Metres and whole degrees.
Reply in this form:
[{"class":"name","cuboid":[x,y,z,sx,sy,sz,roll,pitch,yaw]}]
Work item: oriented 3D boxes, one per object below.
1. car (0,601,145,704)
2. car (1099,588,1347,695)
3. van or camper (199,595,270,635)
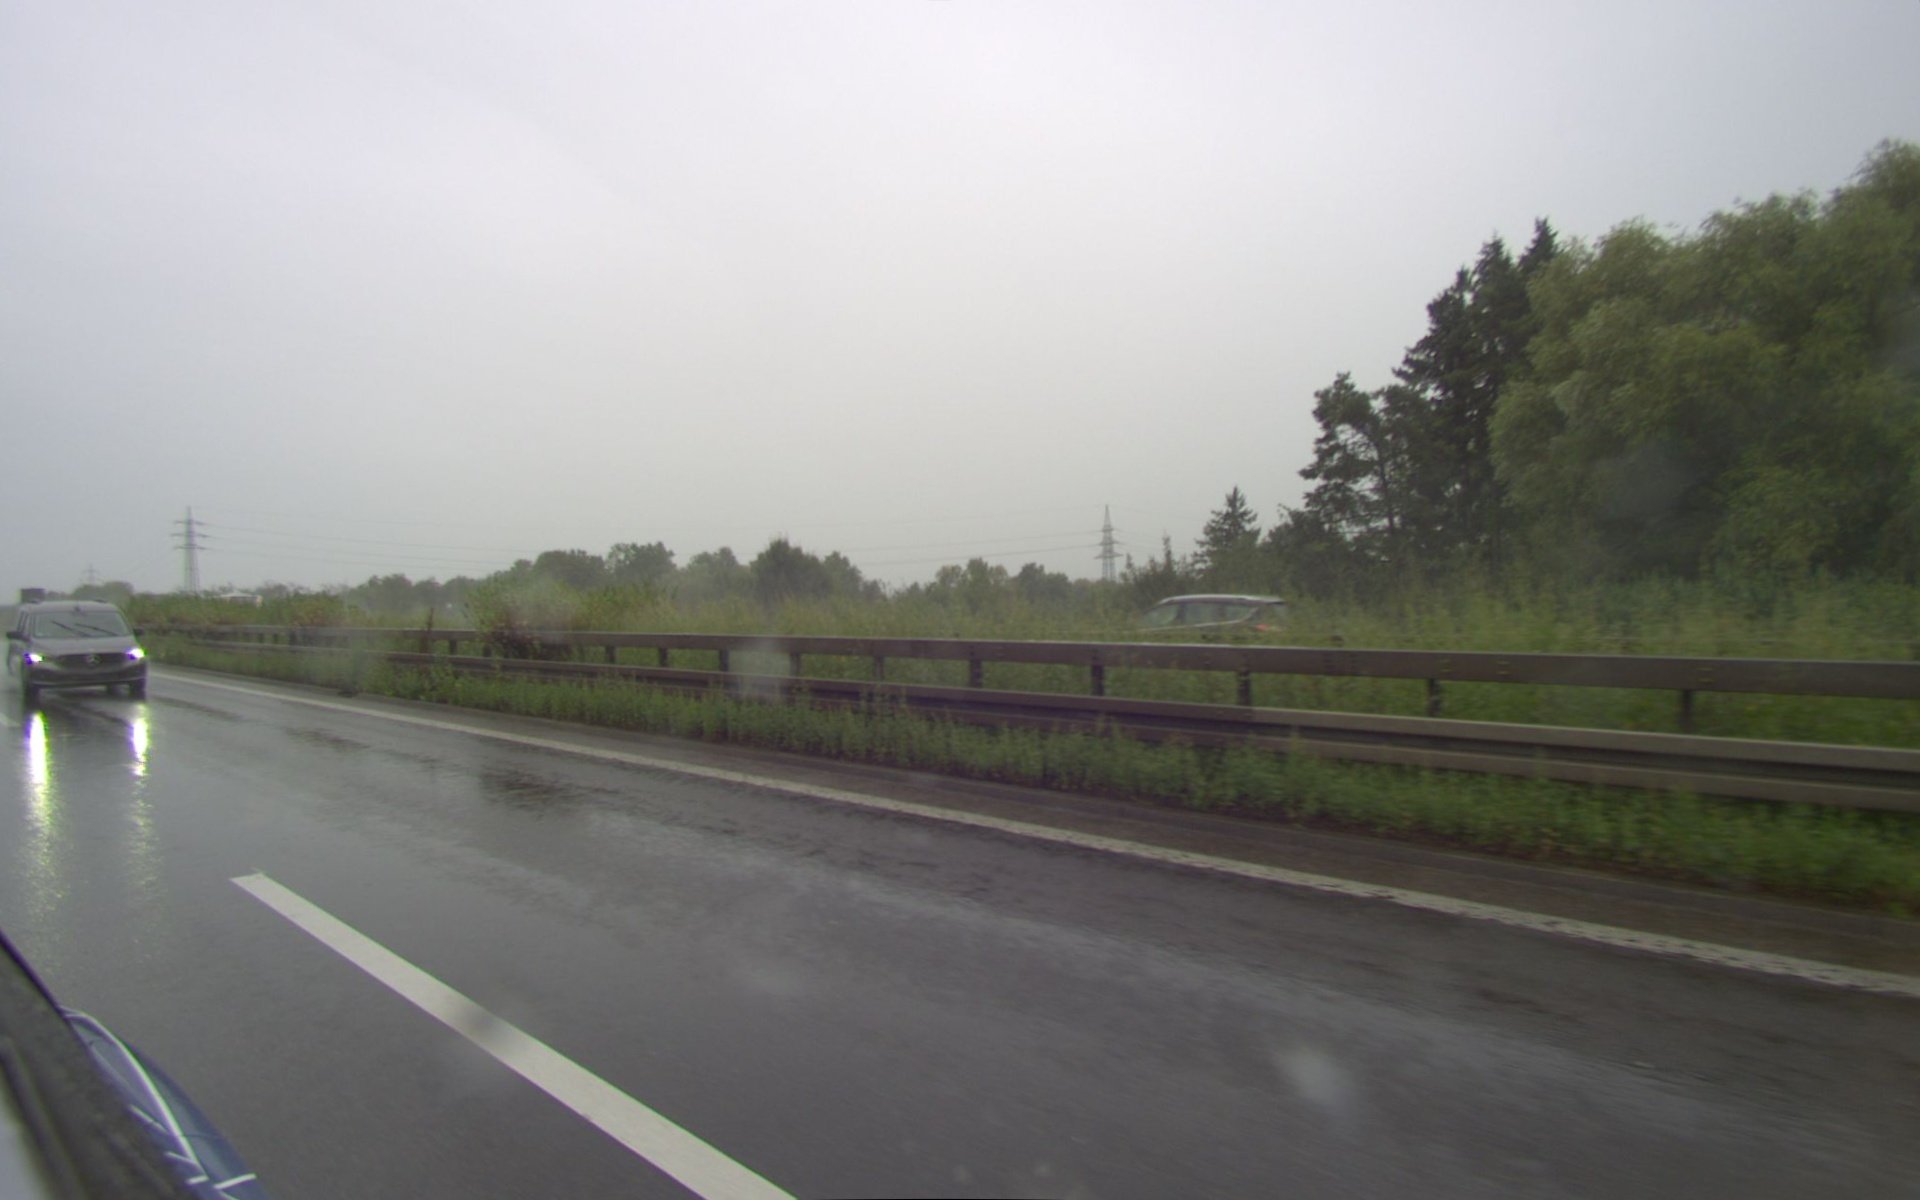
[{"class":"car","cuboid":[-17.673,0.960,19.980,2.018,1.787,4.503,0,-1,-45]},{"class":"car","cuboid":[4.586,0.680,17.936,3.846,1.696,1.814,-1,0,41]},{"class":"van or camper","cuboid":[-60.121,1.283,83.723,9.513,3.109,2.856,-2,0,42]}]
